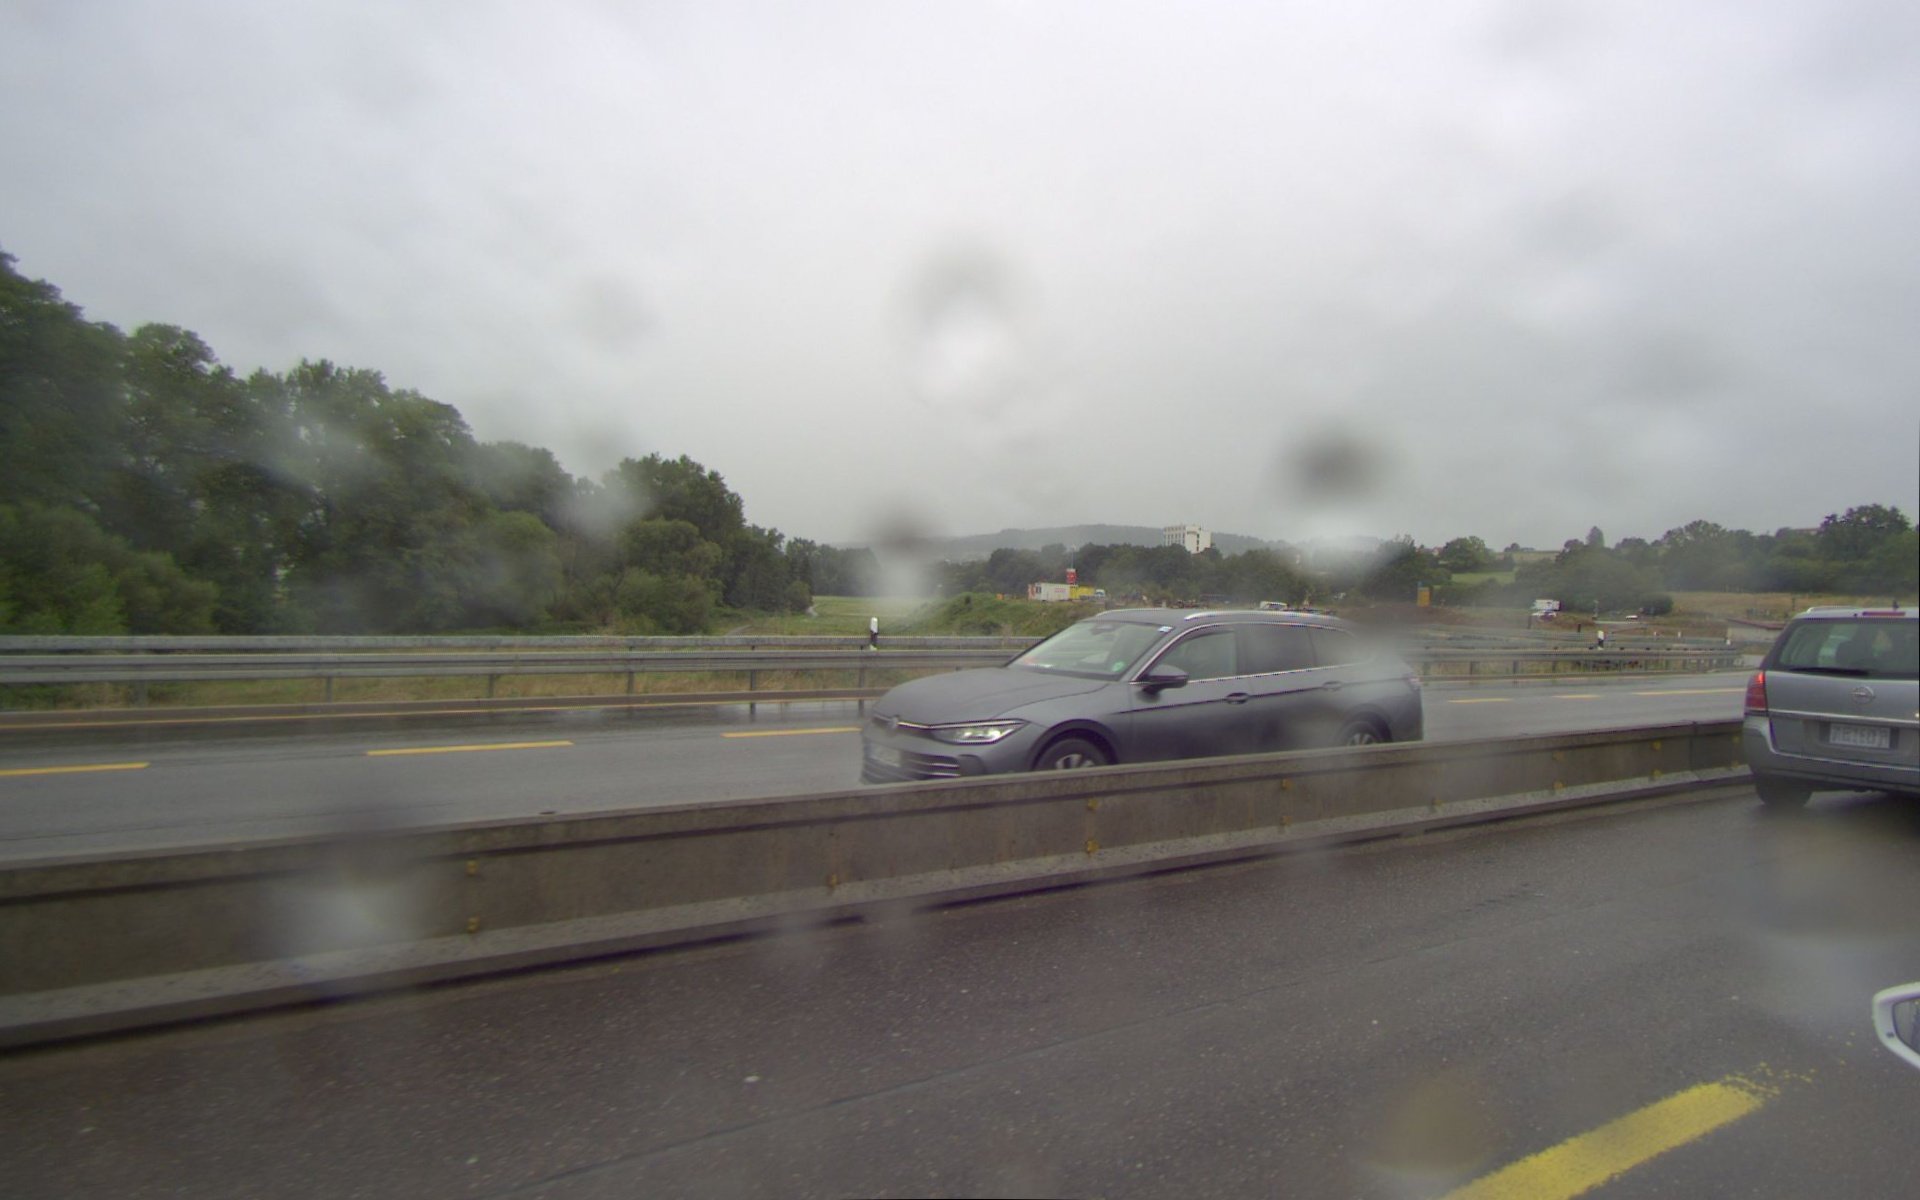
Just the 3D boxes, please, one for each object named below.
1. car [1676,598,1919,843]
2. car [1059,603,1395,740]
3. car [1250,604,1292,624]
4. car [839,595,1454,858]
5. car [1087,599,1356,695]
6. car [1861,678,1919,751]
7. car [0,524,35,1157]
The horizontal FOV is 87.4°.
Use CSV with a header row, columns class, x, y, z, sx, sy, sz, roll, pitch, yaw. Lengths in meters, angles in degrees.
class,x,y,z,sx,sy,sz,roll,pitch,yaw
car,7.945,0.864,8.137,4.092,1.622,1.984,2,0,-30
car,3.575,0.874,13.277,4.256,1.530,1.809,2,0,-30
car,33.888,1.517,109.717,2.232,2.040,5.035,2,0,-11
car,1.601,0.803,7.966,4.693,1.530,1.962,2,0,-32
car,4.782,0.822,18.210,4.691,1.530,1.984,2,0,-30
car,24.713,2.881,25.434,3.955,1.517,1.810,0,0,-32
car,-3.948,0.589,0.898,4.257,1.622,1.807,1,0,-30
